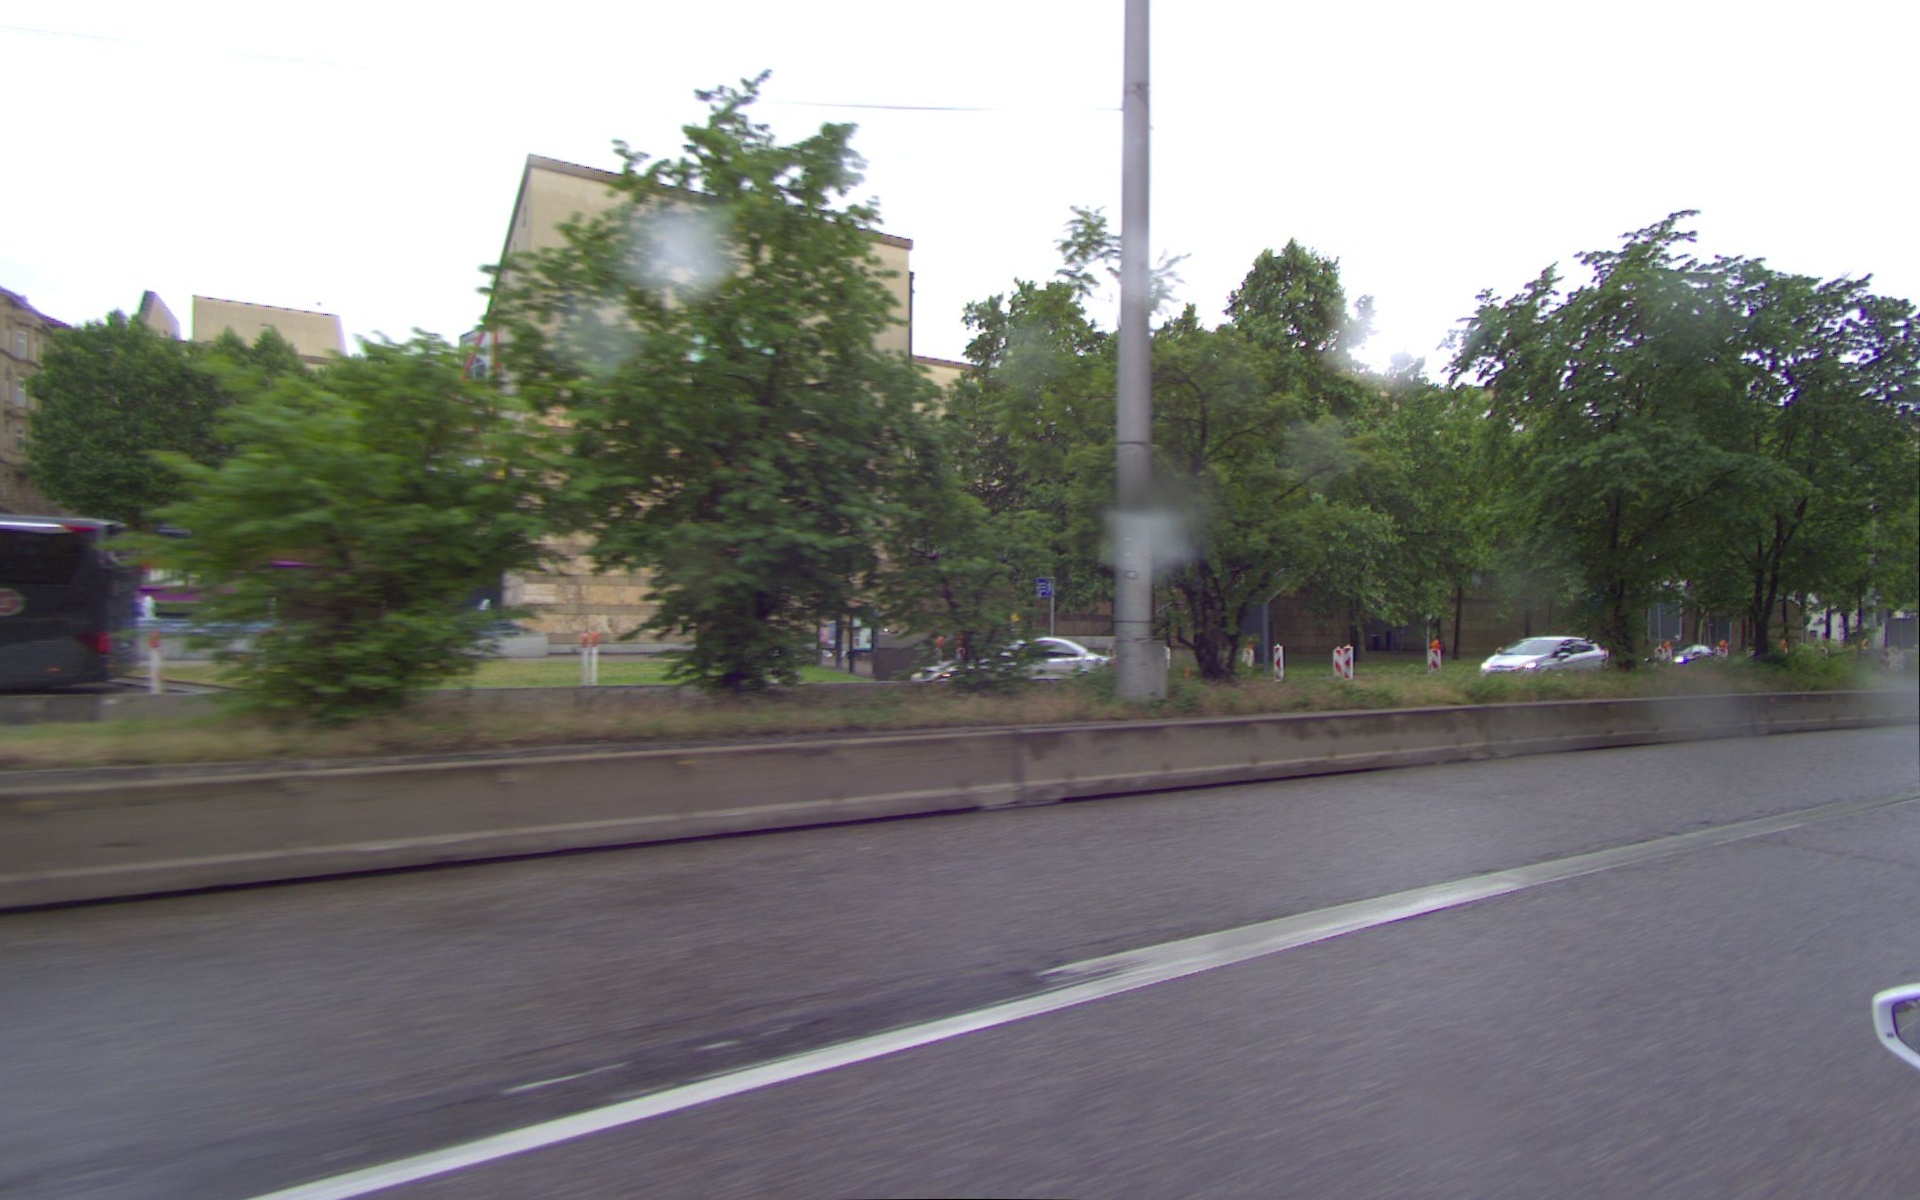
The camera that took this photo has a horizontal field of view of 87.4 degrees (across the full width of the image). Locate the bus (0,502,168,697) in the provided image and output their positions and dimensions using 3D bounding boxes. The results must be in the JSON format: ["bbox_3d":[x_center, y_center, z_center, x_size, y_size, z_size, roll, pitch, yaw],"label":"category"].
[{"bbox_3d":[-24.181,-0.124,18.736,14.410,3.862,2.793,1,0,-27],"label":"bus"}]

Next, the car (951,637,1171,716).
[{"bbox_3d":[2.341,1.717,22.999,4.749,1.646,1.986,2,-3,-29],"label":"car"}]

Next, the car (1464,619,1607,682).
[{"bbox_3d":[15.067,1.285,26.252,3.885,1.528,1.537,1,-1,-30],"label":"car"}]

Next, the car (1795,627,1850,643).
[{"bbox_3d":[91.107,3.652,106.142,1.977,1.617,3.967,1,-2,-31],"label":"car"}]

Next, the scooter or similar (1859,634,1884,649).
[{"bbox_3d":[82.435,3.759,90.854,1.644,1.369,0.714,1,-3,-8],"label":"scooter or similar"}]
